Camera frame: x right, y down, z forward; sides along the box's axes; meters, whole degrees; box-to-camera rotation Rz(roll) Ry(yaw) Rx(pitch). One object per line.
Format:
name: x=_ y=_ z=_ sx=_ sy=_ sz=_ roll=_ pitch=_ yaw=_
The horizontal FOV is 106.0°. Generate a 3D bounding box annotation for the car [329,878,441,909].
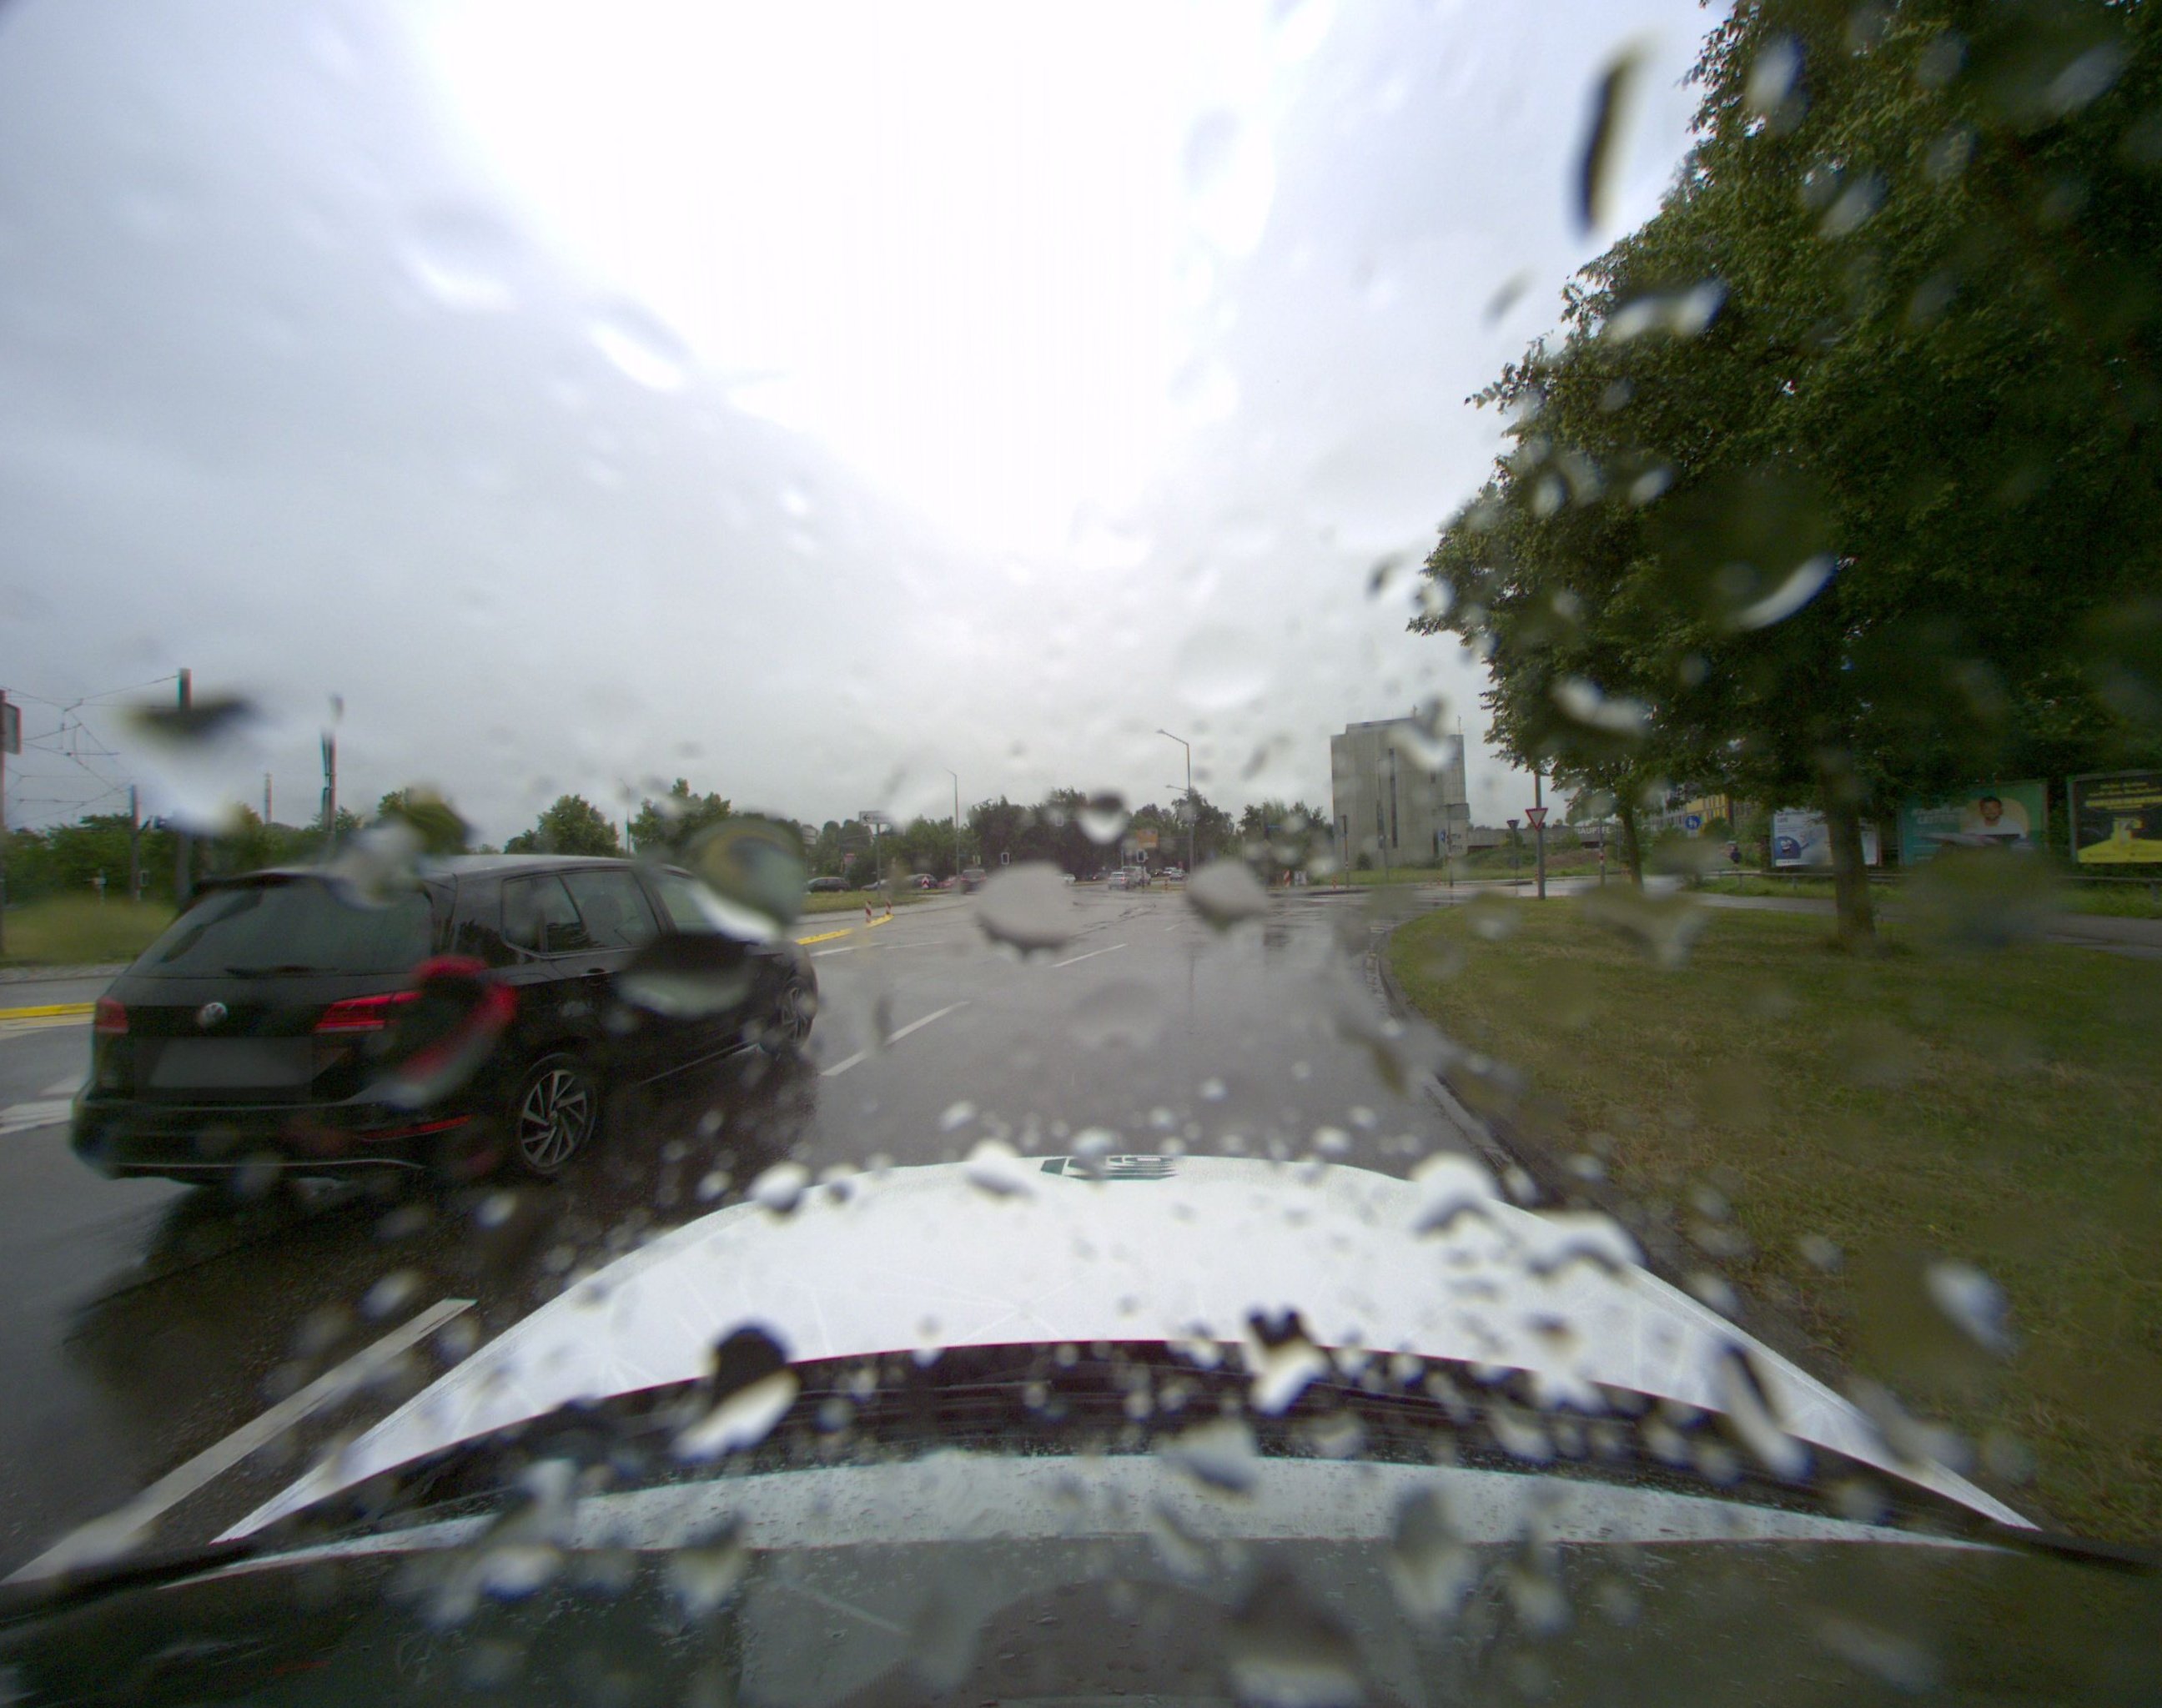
car: x=-40.842 y=2.322 z=47.946 sx=4.889 sy=1.744 sz=1.757 roll=2 pitch=-3 yaw=-39

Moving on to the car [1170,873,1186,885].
car: x=12.911 y=3.319 z=108.505 sx=1.676 sy=1.492 sz=3.264 roll=-2 pitch=-1 yaw=15

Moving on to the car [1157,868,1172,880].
car: x=15.220 y=3.674 z=148.039 sx=1.773 sy=2.014 sz=3.692 roll=0 pitch=-2 yaw=21

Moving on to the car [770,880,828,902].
car: x=-22.490 y=2.953 z=64.979 sx=4.016 sy=1.648 sz=1.770 roll=2 pitch=-3 yaw=-35

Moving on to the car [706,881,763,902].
car: x=-28.435 y=3.058 z=66.935 sx=4.016 sy=1.648 sz=1.770 roll=2 pitch=-3 yaw=-35

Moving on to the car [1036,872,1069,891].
car: x=-2.505 y=2.461 z=73.711 sx=1.667 sy=1.648 sz=3.965 roll=0 pitch=-2 yaw=19

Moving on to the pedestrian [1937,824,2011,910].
pedestrian: x=19.197 y=0.286 z=17.537 sx=0.912 sy=1.784 sz=0.813 roll=-1 pitch=-3 yaw=39

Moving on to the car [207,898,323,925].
car: x=-47.777 y=3.339 z=47.823 sx=4.569 sy=1.492 sz=1.594 roll=2 pitch=-3 yaw=-36

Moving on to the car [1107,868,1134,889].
car: x=3.548 y=2.140 z=72.339 sx=1.772 sy=1.811 sz=4.851 roll=-2 pitch=-1 yaw=10

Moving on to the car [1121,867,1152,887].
car: x=5.797 y=2.447 z=85.189 sx=1.767 sy=2.036 sz=4.023 roll=-1 pitch=-2 yaw=27

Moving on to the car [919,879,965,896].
car: x=-14.092 y=3.370 z=82.620 sx=4.272 sy=1.648 sz=1.767 roll=3 pitch=-3 yaw=-42

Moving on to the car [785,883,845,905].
car: x=-20.069 y=3.025 z=61.487 sx=4.016 sy=1.648 sz=1.770 roll=2 pitch=-3 yaw=-35

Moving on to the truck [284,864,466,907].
truck: x=-46.347 y=2.110 z=53.903 sx=8.836 sy=2.712 sz=1.977 roll=2 pitch=-3 yaw=-37

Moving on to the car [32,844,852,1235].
car: x=-3.158 y=0.762 z=5.381 sx=1.775 sy=1.517 sz=4.337 roll=-1 pitch=-1 yaw=4

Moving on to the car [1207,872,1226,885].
car: x=17.558 y=3.174 z=105.329 sx=1.674 sy=1.492 sz=3.268 roll=-2 pitch=-1 yaw=22

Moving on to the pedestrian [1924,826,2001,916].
pedestrian: x=18.035 y=0.356 z=16.691 sx=0.912 sy=1.784 sz=0.813 roll=-1 pitch=-3 yaw=39

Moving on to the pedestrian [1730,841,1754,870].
pedestrian: x=48.411 y=0.118 z=59.654 sx=1.130 sy=2.014 sz=0.844 roll=1 pitch=-2 yaw=-16

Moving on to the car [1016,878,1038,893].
car: x=-6.159 y=3.601 z=93.445 sx=1.774 sy=1.648 sz=4.401 roll=0 pitch=-2 yaw=7

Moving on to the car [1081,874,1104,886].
car: x=1.678 y=3.795 z=118.442 sx=1.766 sy=1.648 sz=4.023 roll=-1 pitch=-2 yaw=28

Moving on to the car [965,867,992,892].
car: x=-7.013 y=1.759 z=55.645 sx=1.782 sy=1.648 sz=3.989 roll=1 pitch=-2 yaw=-7

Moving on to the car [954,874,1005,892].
car: x=-9.507 y=2.691 z=76.311 sx=4.408 sy=1.648 sz=1.771 roll=2 pitch=-3 yaw=-32
